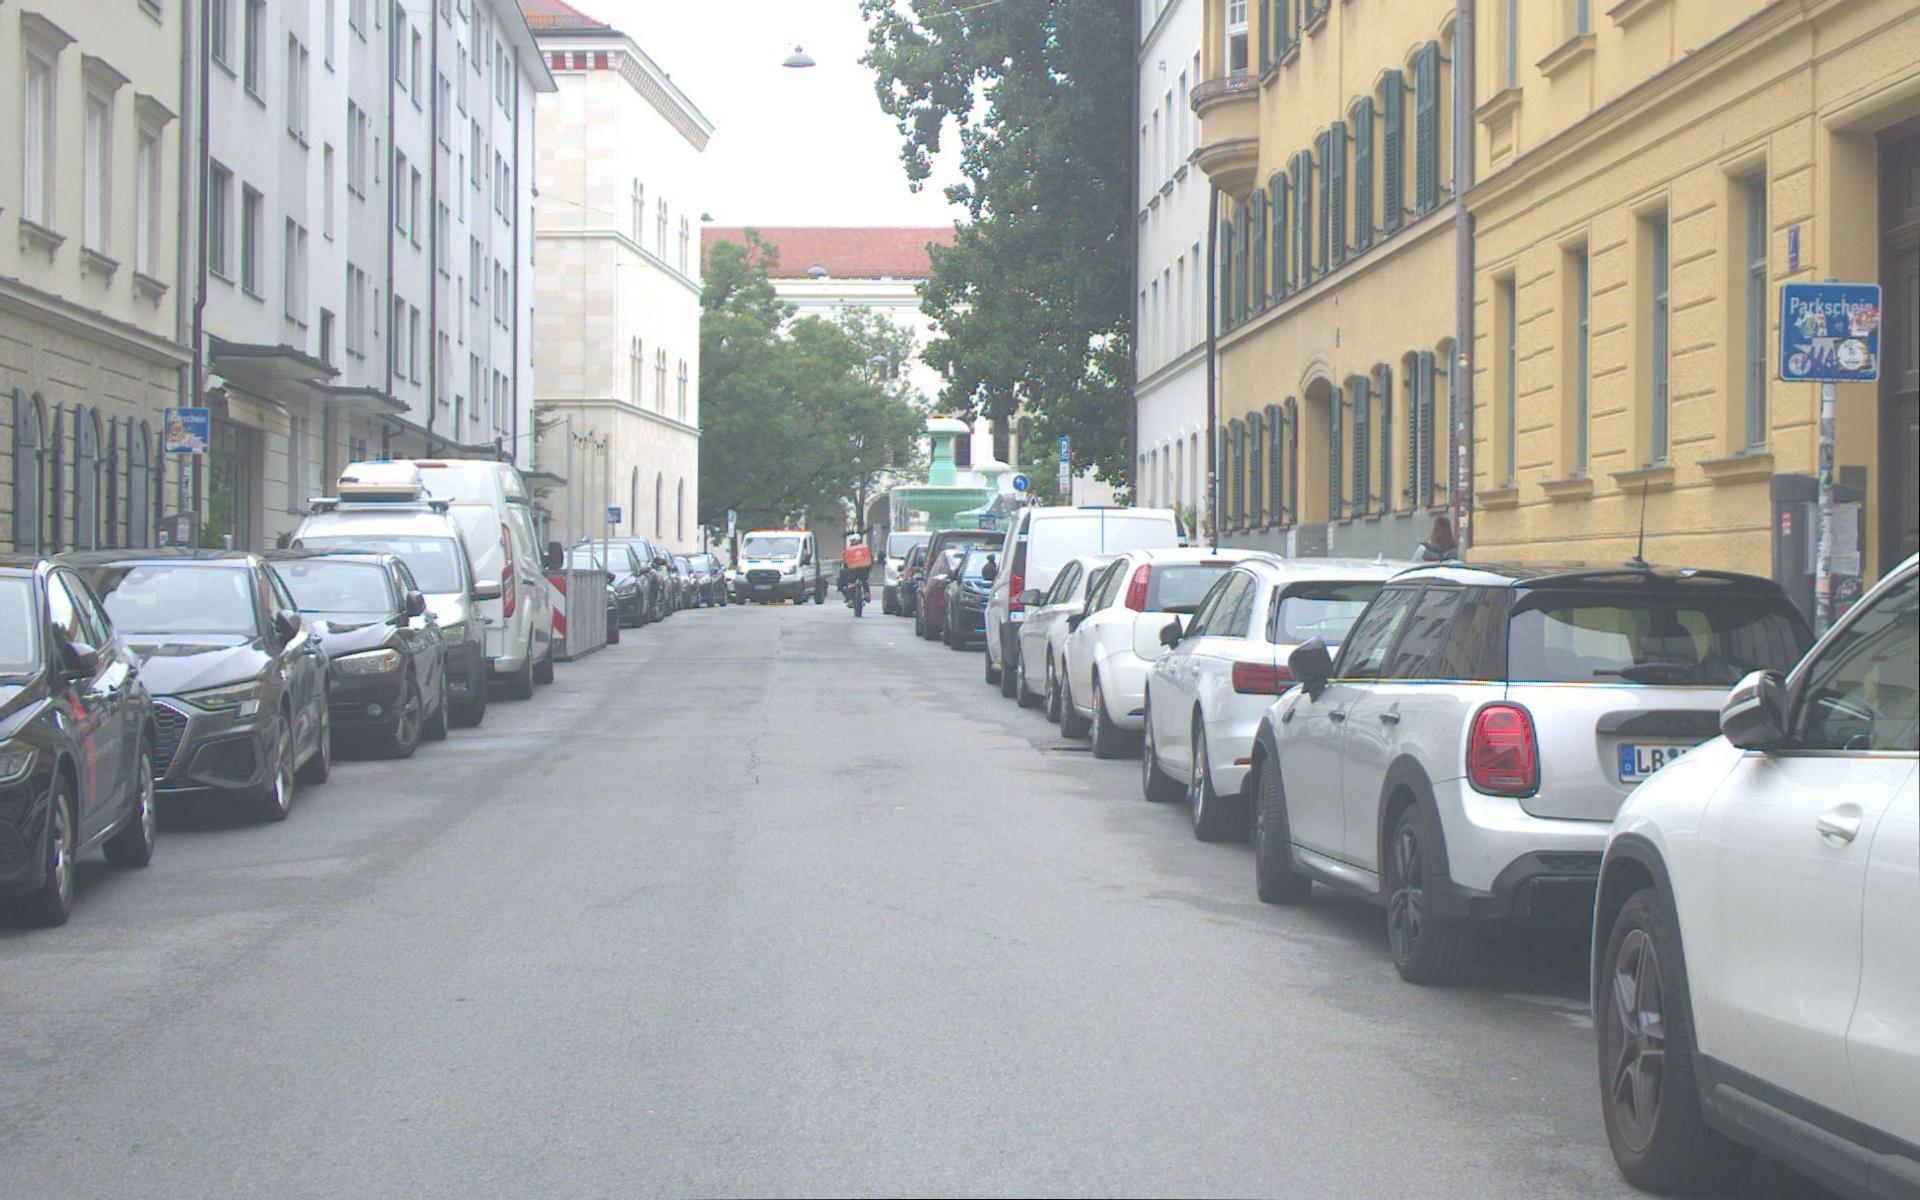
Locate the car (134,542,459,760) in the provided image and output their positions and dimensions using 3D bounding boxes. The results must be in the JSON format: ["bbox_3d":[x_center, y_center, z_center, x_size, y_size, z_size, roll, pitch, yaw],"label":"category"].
[{"bbox_3d":[-4.609,0.302,24.391,1.754,1.404,4.104,0,1,-4],"label":"car"}]

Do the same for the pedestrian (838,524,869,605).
[{"bbox_3d":[-2.263,-0.741,73.060,0.642,1.708,0.843,0,0,-2],"label":"pedestrian"}]

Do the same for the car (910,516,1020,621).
[{"bbox_3d":[0.059,-0.579,62.117,1.811,1.791,4.247,1,1,-2],"label":"car"}]

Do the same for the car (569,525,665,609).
[{"bbox_3d":[-6.827,-0.661,68.701,1.706,1.604,3.863,-1,1,-3],"label":"car"}]

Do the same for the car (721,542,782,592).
[{"bbox_3d":[-6.726,-1.073,111.106,1.706,1.575,3.863,-1,1,0],"label":"car"}]

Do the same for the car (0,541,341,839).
[{"bbox_3d":[-4.557,0.417,19.269,1.816,1.436,4.132,-1,1,-6],"label":"car"}]

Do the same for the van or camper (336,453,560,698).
[{"bbox_3d":[-5.087,-0.265,34.739,1.754,2.273,5.274,0,1,-3],"label":"van or camper"}]

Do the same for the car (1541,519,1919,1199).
[{"bbox_3d":[2.463,0.645,6.686,1.743,1.578,4.467,0,1,-2],"label":"car"}]

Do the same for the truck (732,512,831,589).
[{"bbox_3d":[-5.362,-1.451,104.090,2.121,2.239,6.184,0,0,5],"label":"truck"}]

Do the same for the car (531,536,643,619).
[{"bbox_3d":[-6.828,-0.428,63.250,1.817,1.439,3.819,-1,1,-3],"label":"car"}]

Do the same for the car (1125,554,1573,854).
[{"bbox_3d":[1.962,0.462,18.694,1.708,1.404,4.815,0,1,-2],"label":"car"}]

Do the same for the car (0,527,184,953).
[{"bbox_3d":[-4.357,0.453,14.064,1.754,1.491,4.201,0,1,-5],"label":"car"}]

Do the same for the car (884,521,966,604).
[{"bbox_3d":[-0.850,-0.902,81.886,1.851,1.913,4.770,0,1,-2],"label":"car"}]

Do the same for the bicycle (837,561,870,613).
[{"bbox_3d":[-2.258,-0.273,73.046,0.675,1.091,1.760,0,0,-2],"label":"bicycle"}]

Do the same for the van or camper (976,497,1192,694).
[{"bbox_3d":[1.196,-0.086,35.328,1.833,1.865,5.079,0,1,-2],"label":"van or camper"}]

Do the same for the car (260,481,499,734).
[{"bbox_3d":[-4.883,0.028,29.425,1.754,1.988,4.627,0,1,-6],"label":"car"}]

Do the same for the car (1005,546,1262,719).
[{"bbox_3d":[1.438,0.234,29.974,1.708,1.388,4.207,0,1,-4],"label":"car"}]

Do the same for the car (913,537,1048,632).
[{"bbox_3d":[0.289,-0.261,55.124,1.811,1.420,4.247,1,1,-4],"label":"car"}]

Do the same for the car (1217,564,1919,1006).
[{"bbox_3d":[2.166,0.577,13.190,1.708,1.400,4.208,0,1,-5],"label":"car"}]

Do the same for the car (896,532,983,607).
[{"bbox_3d":[-0.473,-0.691,76.021,1.811,1.609,4.156,0,1,-2],"label":"car"}]

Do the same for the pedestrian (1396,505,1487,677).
[{"bbox_3d":[4.511,-0.087,32.222,0.660,1.566,0.642,-3,0,-3],"label":"pedestrian"}]

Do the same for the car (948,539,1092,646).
[{"bbox_3d":[0.838,-0.137,50.233,1.811,1.459,4.247,1,1,-3],"label":"car"}]

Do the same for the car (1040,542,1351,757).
[{"bbox_3d":[1.653,0.308,25.422,1.708,1.449,4.097,0,1,-4],"label":"car"}]

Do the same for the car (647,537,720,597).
[{"bbox_3d":[-7.736,-0.932,96.423,1.706,1.604,3.863,-1,1,0],"label":"car"}]
